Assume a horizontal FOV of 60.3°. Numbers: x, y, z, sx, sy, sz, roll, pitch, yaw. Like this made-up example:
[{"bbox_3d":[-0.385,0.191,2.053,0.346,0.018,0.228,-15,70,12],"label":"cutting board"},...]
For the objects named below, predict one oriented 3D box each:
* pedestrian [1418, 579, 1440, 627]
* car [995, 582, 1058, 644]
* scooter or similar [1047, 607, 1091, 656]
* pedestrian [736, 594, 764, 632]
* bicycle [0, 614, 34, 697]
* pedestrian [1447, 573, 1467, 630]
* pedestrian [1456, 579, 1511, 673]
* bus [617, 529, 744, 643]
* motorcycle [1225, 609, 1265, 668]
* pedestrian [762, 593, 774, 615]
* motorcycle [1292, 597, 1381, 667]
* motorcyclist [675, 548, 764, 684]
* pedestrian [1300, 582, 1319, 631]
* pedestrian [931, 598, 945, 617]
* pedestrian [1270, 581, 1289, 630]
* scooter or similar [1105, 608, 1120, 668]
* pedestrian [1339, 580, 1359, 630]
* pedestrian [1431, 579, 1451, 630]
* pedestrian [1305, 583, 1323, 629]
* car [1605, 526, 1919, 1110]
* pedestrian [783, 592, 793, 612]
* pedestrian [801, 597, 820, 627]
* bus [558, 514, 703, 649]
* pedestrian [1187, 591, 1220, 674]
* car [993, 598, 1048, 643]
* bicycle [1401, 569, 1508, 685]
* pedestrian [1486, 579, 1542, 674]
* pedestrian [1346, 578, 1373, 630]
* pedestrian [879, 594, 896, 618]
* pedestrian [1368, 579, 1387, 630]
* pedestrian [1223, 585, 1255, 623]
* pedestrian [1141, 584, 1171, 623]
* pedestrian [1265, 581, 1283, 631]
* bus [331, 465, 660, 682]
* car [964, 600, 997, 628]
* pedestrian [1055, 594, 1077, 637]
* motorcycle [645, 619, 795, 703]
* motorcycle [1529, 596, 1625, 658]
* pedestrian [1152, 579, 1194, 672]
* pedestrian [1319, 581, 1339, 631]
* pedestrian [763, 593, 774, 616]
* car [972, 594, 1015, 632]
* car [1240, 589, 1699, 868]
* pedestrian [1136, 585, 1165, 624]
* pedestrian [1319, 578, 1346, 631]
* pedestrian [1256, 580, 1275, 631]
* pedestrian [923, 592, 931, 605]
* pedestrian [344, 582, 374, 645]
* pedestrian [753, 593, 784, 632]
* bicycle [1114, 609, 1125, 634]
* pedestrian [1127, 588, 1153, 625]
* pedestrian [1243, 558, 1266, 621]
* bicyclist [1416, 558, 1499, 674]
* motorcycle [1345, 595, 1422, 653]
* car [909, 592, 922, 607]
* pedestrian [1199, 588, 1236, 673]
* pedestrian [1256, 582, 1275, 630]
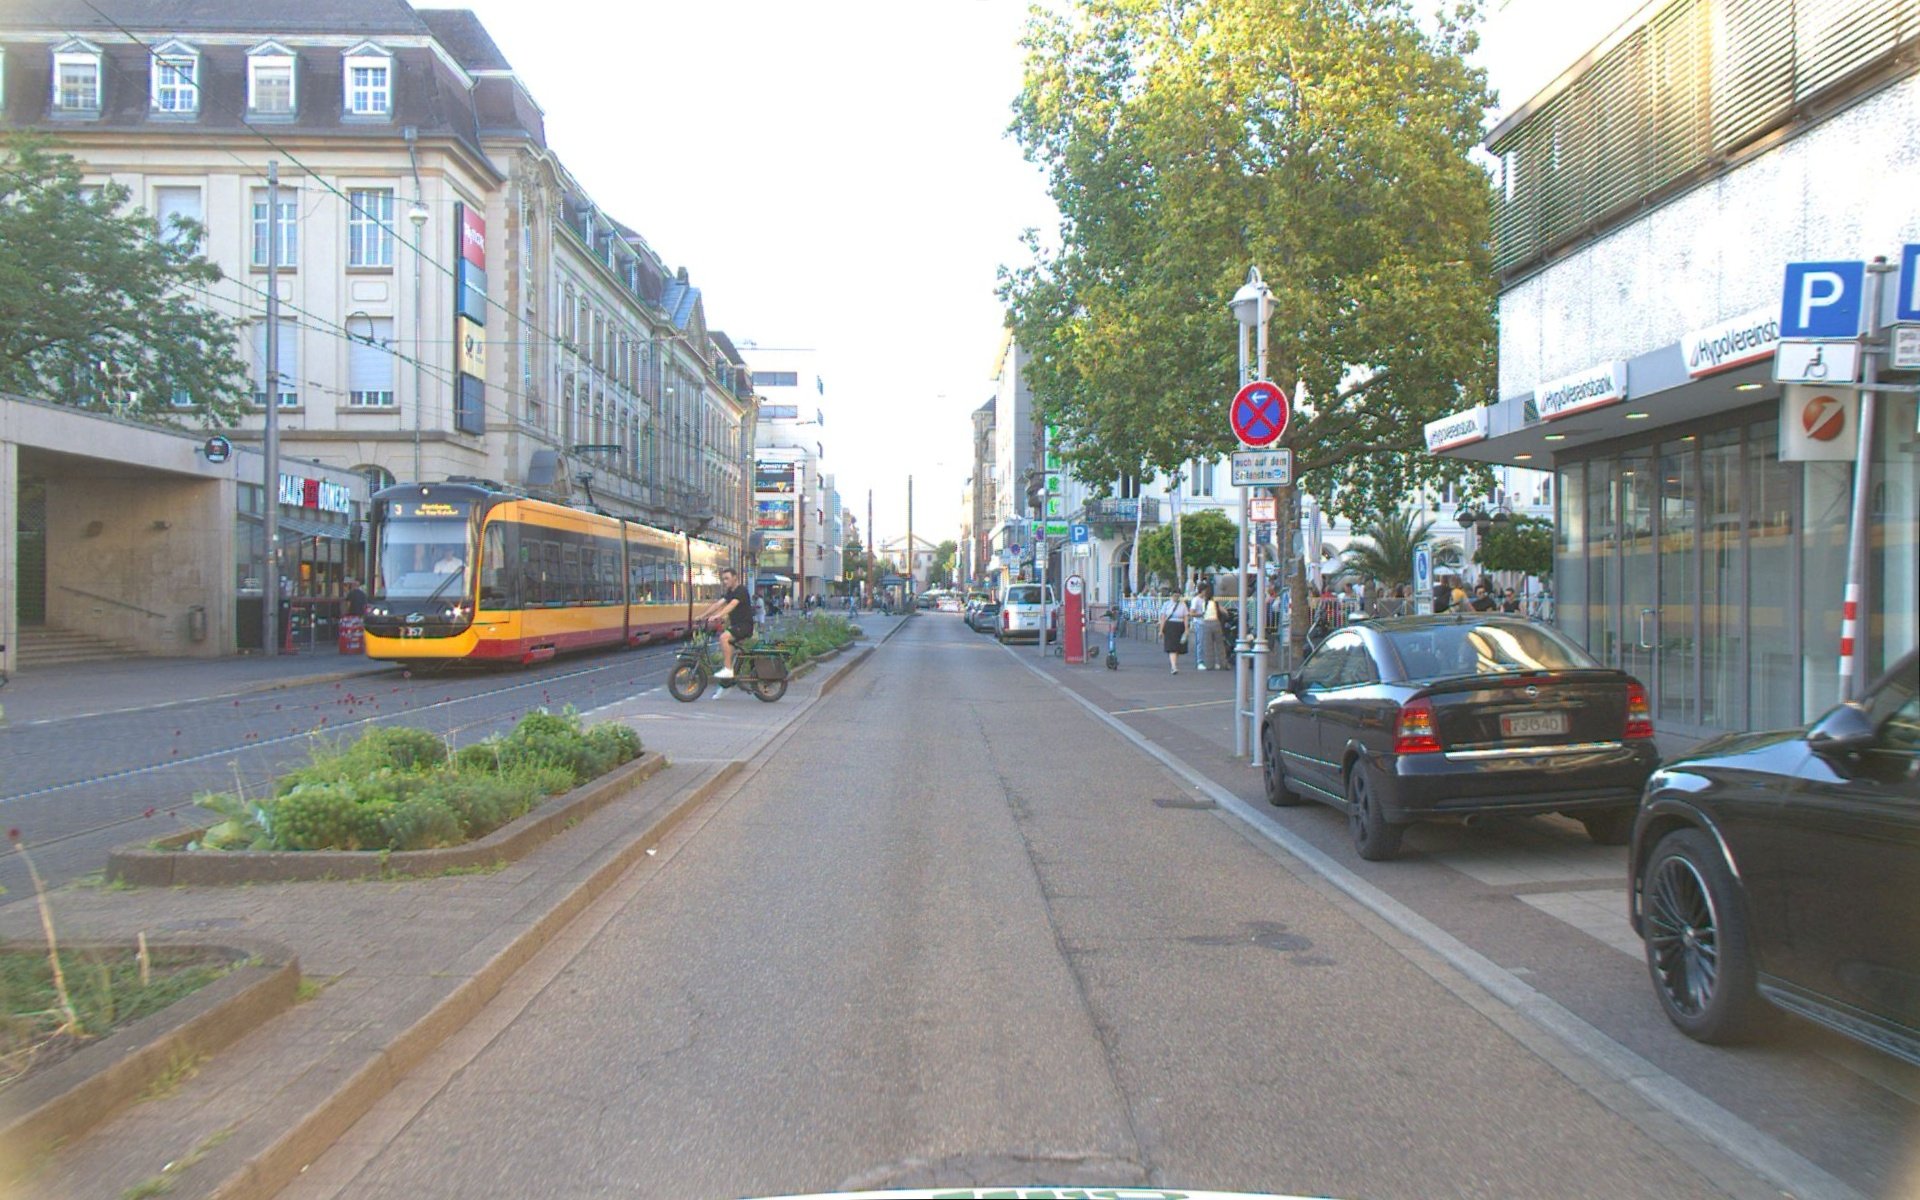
[{"bbox_3d":[12.914,0.081,45.568,0.527,1.307,0.475,-1,-2,9],"label":"pedestrian"},{"bbox_3d":[2.204,0.428,56.032,1.876,2.016,4.420,0,0,-1],"label":"car"},{"bbox_3d":[2.820,0.817,42.947,1.102,1.237,0.300,-1,-1,0],"label":"scooter or similar"},{"bbox_3d":[-8.549,0.541,67.284,0.746,1.540,0.858,-2,-2,42],"label":"pedestrian"},{"bbox_3d":[-15.420,0.852,25.278,2.196,1.253,0.585,0,-1,-1],"label":"bicycle"},{"bbox_3d":[12.643,0.042,42.095,0.464,1.424,0.540,-1,-2,15],"label":"pedestrian"},{"bbox_3d":[10.067,0.509,31.798,0.816,1.772,0.649,1,-2,-39],"label":"pedestrian"},{"bbox_3d":[-9.856,-0.366,59.673,2.765,3.676,11.819,0,-1,-1],"label":"bus"},{"bbox_3d":[5.978,0.788,34.776,0.446,1.178,2.031,0,0,-1],"label":"motorcycle"},{"bbox_3d":[-13.981,0.305,120.366,0.764,1.608,0.676,0,0,-13],"label":"pedestrian"},{"bbox_3d":[8.099,0.670,35.677,0.557,1.448,2.276,1,0,-27],"label":"motorcycle"},{"bbox_3d":[-3.368,0.237,23.144,0.990,1.845,0.951,1,-2,-28],"label":"motorcyclist"},{"bbox_3d":[9.424,0.180,44.605,0.463,1.307,0.540,-1,-2,13],"label":"pedestrian"},{"bbox_3d":[-2.250,0.731,170.890,1.210,1.962,1.017,0,0,-17],"label":"pedestrian"},{"bbox_3d":[8.491,0.149,43.948,0.463,1.307,0.540,-1,-2,13],"label":"pedestrian"},{"bbox_3d":[3.255,0.801,35.230,0.308,1.243,1.273,0,0,6],"label":"scooter or similar"},{"bbox_3d":[10.165,0.138,43.206,0.464,1.307,0.540,-1,-2,15],"label":"pedestrian"},{"bbox_3d":[12.528,0.115,43.055,0.464,1.307,0.540,-1,-2,15],"label":"pedestrian"},{"bbox_3d":[9.777,0.171,45.706,0.463,1.263,0.540,-1,-2,13],"label":"pedestrian"},{"bbox_3d":[3.448,0.588,4.209,1.740,1.565,4.577,0,1,-1],"label":"car"},{"bbox_3d":[-17.248,0.198,166.017,0.891,1.962,0.847,0,0,-17],"label":"pedestrian"},{"bbox_3d":[-8.627,0.671,95.408,1.030,1.715,0.906,0,0,-11],"label":"pedestrian"},{"bbox_3d":[-9.704,-0.483,49.620,2.765,3.688,8.287,0,0,-1],"label":"bus"},{"bbox_3d":[5.150,0.688,35.013,0.601,1.747,0.662,0,-2,1],"label":"pedestrian"},{"bbox_3d":[2.366,0.817,65.621,1.953,1.696,4.419,0,-1,-1],"label":"car"},{"bbox_3d":[7.907,0.416,26.376,0.593,1.770,2.351,0,0,45],"label":"bicycle"},{"bbox_3d":[10.434,0.508,31.169,0.816,1.754,0.649,1,-2,-40],"label":"pedestrian"},{"bbox_3d":[10.065,0.108,41.709,0.630,1.307,0.741,-1,-2,15],"label":"pedestrian"},{"bbox_3d":[-5.231,0.442,119.442,1.026,1.715,0.909,-1,-2,10],"label":"pedestrian"},{"bbox_3d":[10.796,0.118,42.782,0.464,1.307,0.540,-1,-2,15],"label":"pedestrian"},{"bbox_3d":[9.666,0.158,57.325,0.944,1.289,0.905,0,-2,-1],"label":"pedestrian"},{"bbox_3d":[6.731,0.123,56.893,0.884,1.337,0.966,0,-2,-2],"label":"pedestrian"},{"bbox_3d":[8.461,0.166,44.568,0.463,1.307,0.540,-1,-2,13],"label":"pedestrian"},{"bbox_3d":[-9.517,-0.481,36.949,2.765,3.715,17.069,0,0,-1],"label":"bus"},{"bbox_3d":[1.302,0.914,106.904,1.953,1.696,4.419,0,-2,-1],"label":"car"},{"bbox_3d":[4.504,0.655,70.280,0.772,1.782,0.893,0,-2,-8],"label":"pedestrian"},{"bbox_3d":[-3.349,0.841,23.141,2.020,1.143,0.563,1,-2,-28],"label":"motorcycle"},{"bbox_3d":[13.310,0.570,35.726,0.557,1.304,1.931,1,0,-38],"label":"motorcycle"},{"bbox_3d":[4.292,0.510,33.328,0.699,1.835,0.824,-2,-1,2],"label":"pedestrian"},{"bbox_3d":[9.724,0.157,43.610,0.466,1.307,0.525,-1,-2,16],"label":"pedestrian"},{"bbox_3d":[-13.824,0.315,119.552,0.760,1.608,0.676,0,0,-13],"label":"pedestrian"},{"bbox_3d":[1.605,0.631,80.894,1.953,1.791,4.420,0,0,-1],"label":"car"},{"bbox_3d":[3.136,0.691,11.147,1.622,1.404,4.340,-4,0,-1],"label":"car"},{"bbox_3d":[6.675,0.150,57.927,0.884,1.329,0.966,0,-2,-2],"label":"pedestrian"},{"bbox_3d":[9.449,0.122,41.940,0.630,1.307,0.741,-1,-2,15],"label":"pedestrian"},{"bbox_3d":[8.346,0.156,45.176,0.463,1.353,0.540,-1,-2,13],"label":"pedestrian"},{"bbox_3d":[-4.403,-0.200,222.890,0.768,1.765,0.809,-2,-2,39],"label":"pedestrian"},{"bbox_3d":[-16.166,0.369,44.474,0.704,1.674,0.655,1,0,-23],"label":"pedestrian"},{"bbox_3d":[-7.735,0.501,66.817,0.706,1.540,1.031,-2,-2,42],"label":"pedestrian"},{"bbox_3d":[5.994,0.804,62.015,0.245,0.918,1.373,0,-2,-1],"label":"bicycle"},{"bbox_3d":[6.566,0.243,60.358,0.806,1.329,0.869,0,-2,-2],"label":"pedestrian"},{"bbox_3d":[11.029,-0.375,61.960,0.604,2.345,0.577,1,-2,-23],"label":"pedestrian"},{"bbox_3d":[7.923,0.245,26.357,0.954,1.807,0.925,0,0,45],"label":"bicyclist"},{"bbox_3d":[9.174,0.512,35.891,0.544,1.171,1.782,1,1,-27],"label":"motorcycle"},{"bbox_3d":[-6.007,-0.033,224.305,1.725,1.859,3.569,0,-2,-1],"label":"car"},{"bbox_3d":[5.339,0.629,34.308,0.664,1.747,0.654,0,-2,1],"label":"pedestrian"},{"bbox_3d":[8.453,0.180,45.759,0.463,1.307,0.540,-1,-2,13],"label":"pedestrian"}]
